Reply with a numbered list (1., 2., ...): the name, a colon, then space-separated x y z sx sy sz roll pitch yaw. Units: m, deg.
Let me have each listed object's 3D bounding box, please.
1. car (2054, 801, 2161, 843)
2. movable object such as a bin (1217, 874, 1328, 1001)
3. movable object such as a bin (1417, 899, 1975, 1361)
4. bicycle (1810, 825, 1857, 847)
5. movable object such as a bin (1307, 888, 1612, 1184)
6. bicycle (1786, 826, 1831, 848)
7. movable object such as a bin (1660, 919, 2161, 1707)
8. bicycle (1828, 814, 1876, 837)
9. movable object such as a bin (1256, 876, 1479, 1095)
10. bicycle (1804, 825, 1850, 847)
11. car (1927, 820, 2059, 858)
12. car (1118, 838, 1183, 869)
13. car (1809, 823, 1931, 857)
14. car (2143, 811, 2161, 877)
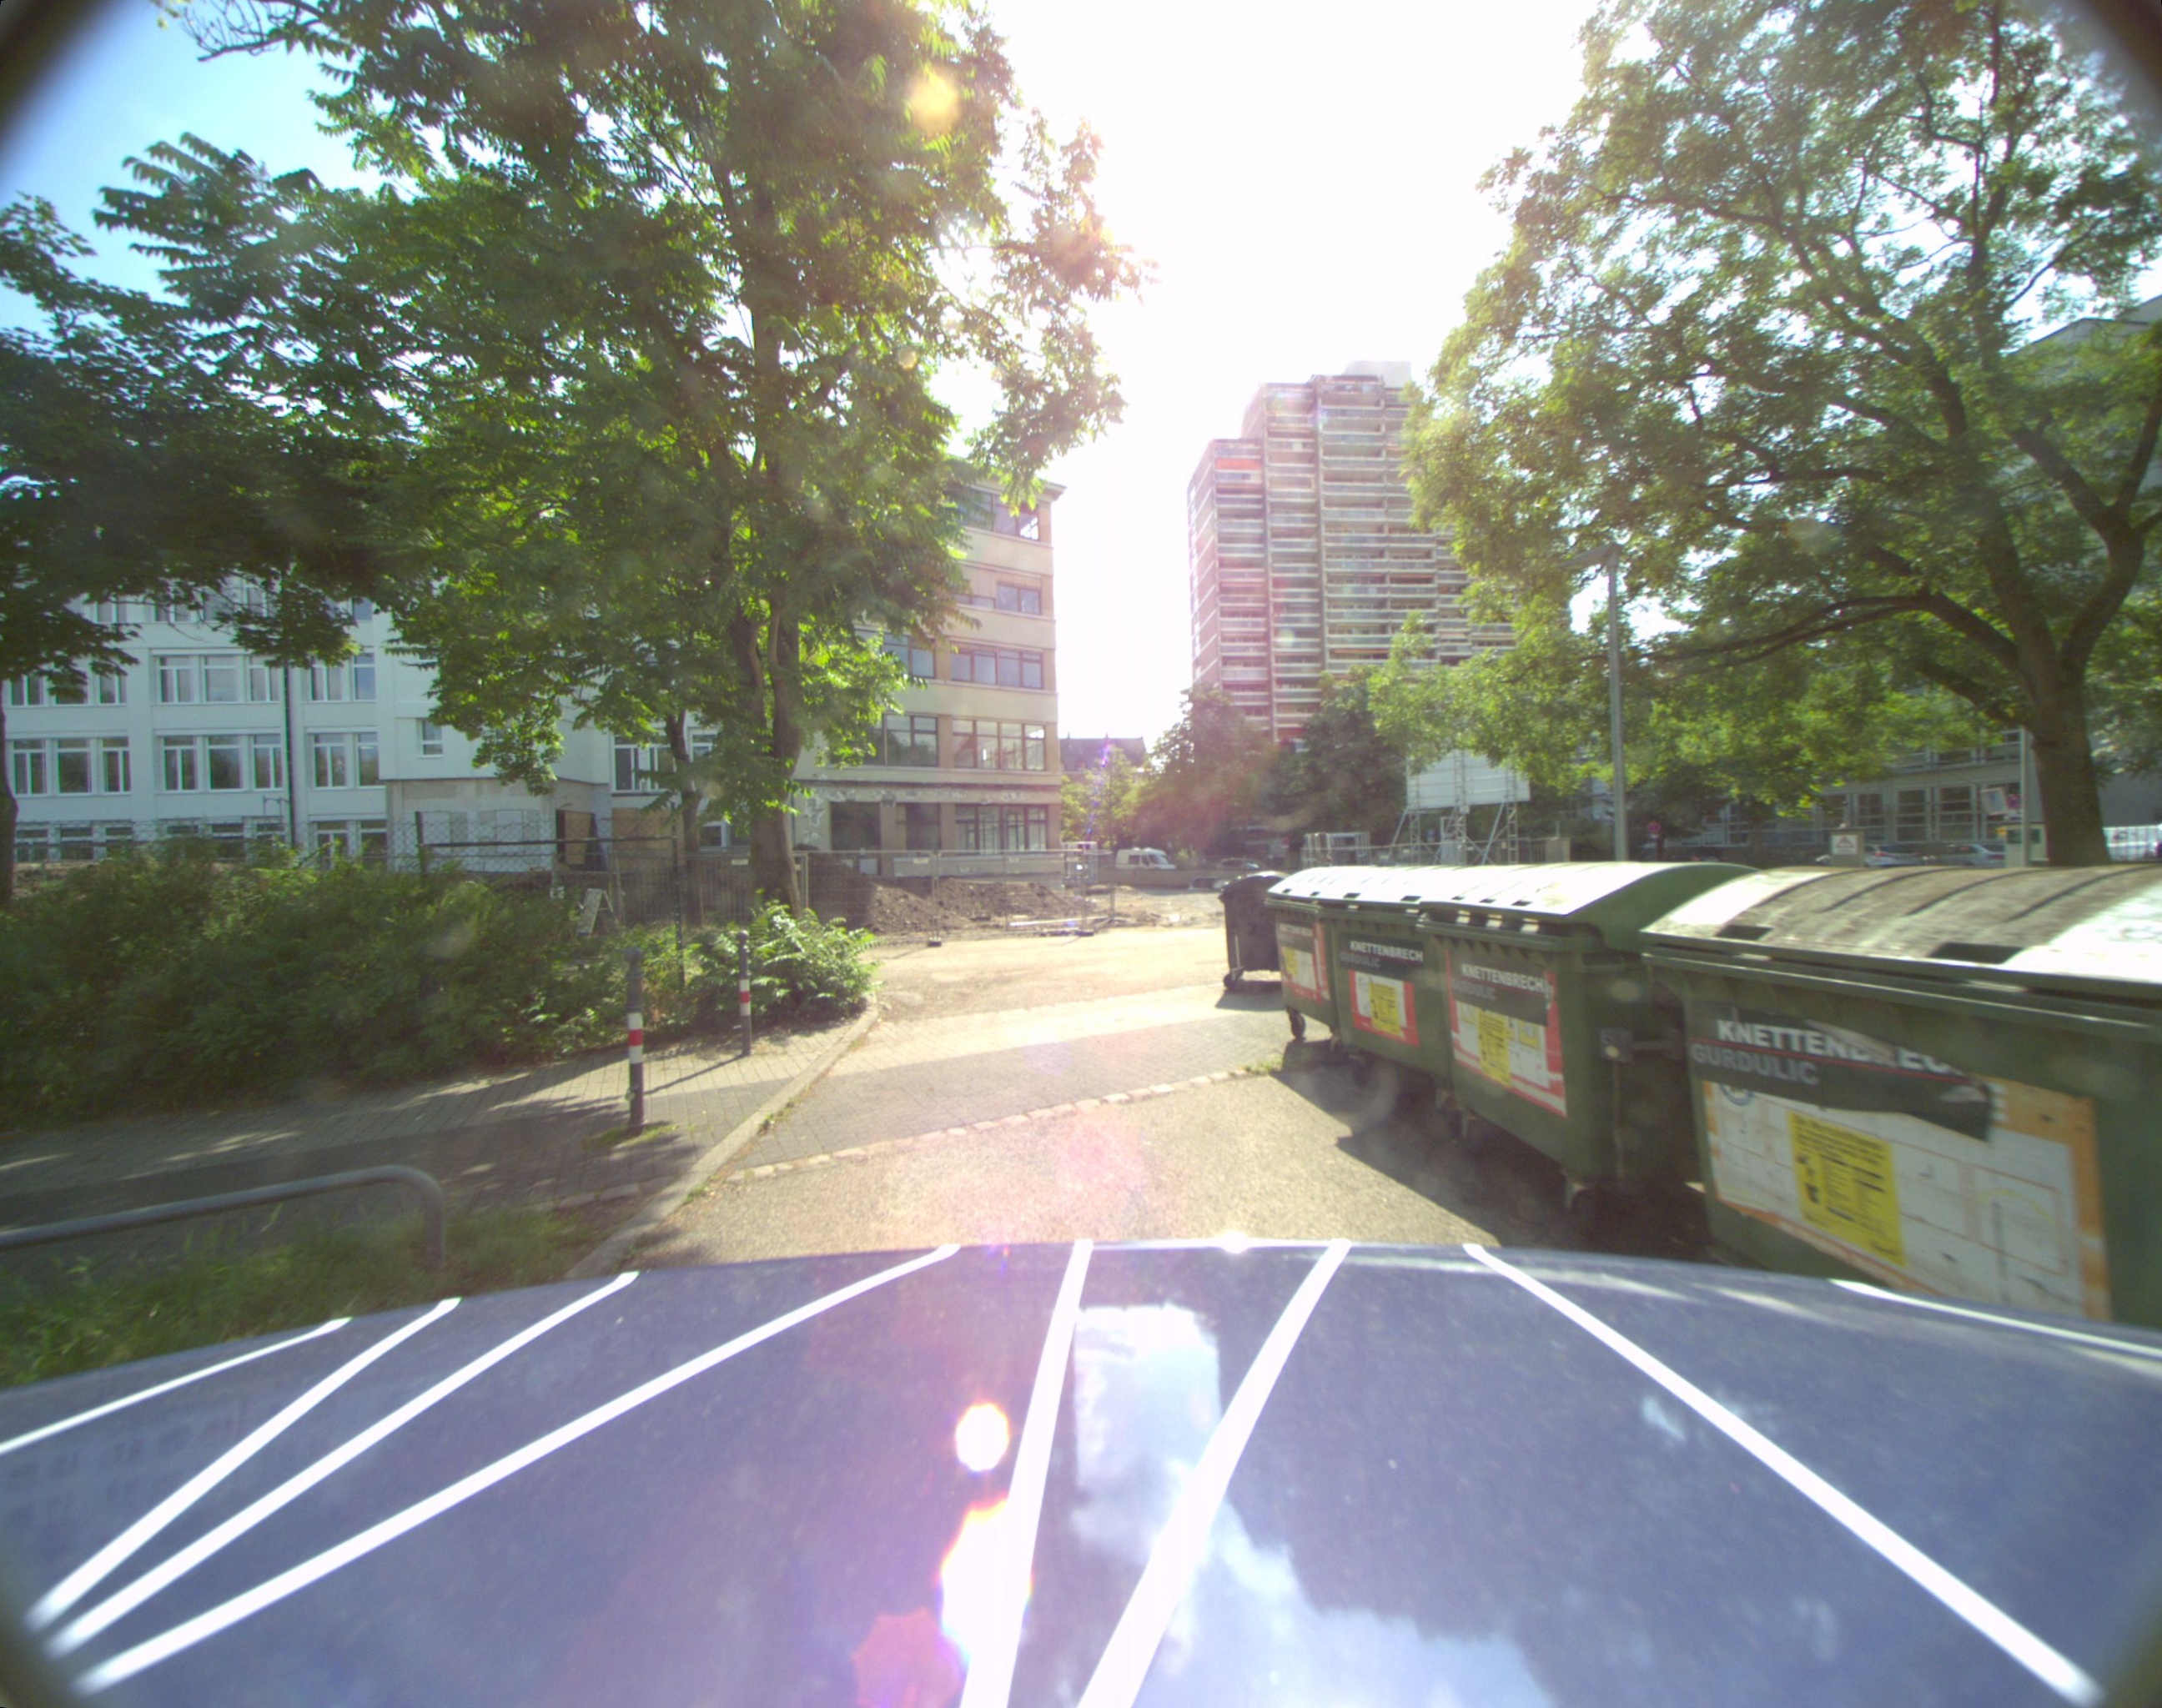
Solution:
1. car: 39.031 -1.191 28.178 1.746 1.390 4.005 -3 0 20
2. movable object such as a bin: 2.459 1.013 9.701 1.247 1.473 1.298 -2 -1 16
3. movable object such as a bin: 2.369 0.968 3.221 1.227 1.443 1.283 -4 -1 -1
4. bicycle: 40.524 -0.958 40.939 2.055 1.081 0.497 -4 1 -2
5. movable object such as a bin: 2.270 0.993 4.735 1.103 1.443 1.232 -4 1 -14
6. bicycle: 40.425 -0.960 42.214 2.055 1.081 0.497 -4 1 -2
7. movable object such as a bin: 2.434 0.964 1.750 1.102 1.443 1.343 -4 1 -2
8. bicycle: 40.718 -1.508 40.149 2.055 1.081 0.497 -4 1 -2
9. movable object such as a bin: 2.211 0.951 6.090 1.103 1.443 1.342 -4 1 -7
10. bicycle: 40.764 -0.967 41.528 2.055 1.081 0.497 -4 1 -2
11. car: 38.065 -0.644 31.868 1.746 1.390 4.005 -3 0 20
12. car: 4.992 -0.100 55.200 2.003 2.003 5.294 -2 3 -30
13. car: 36.241 -0.655 35.085 1.780 1.456 4.239 2 2 12
14. car: 27.739 -0.150 17.529 1.682 1.603 3.574 0 3 -32
